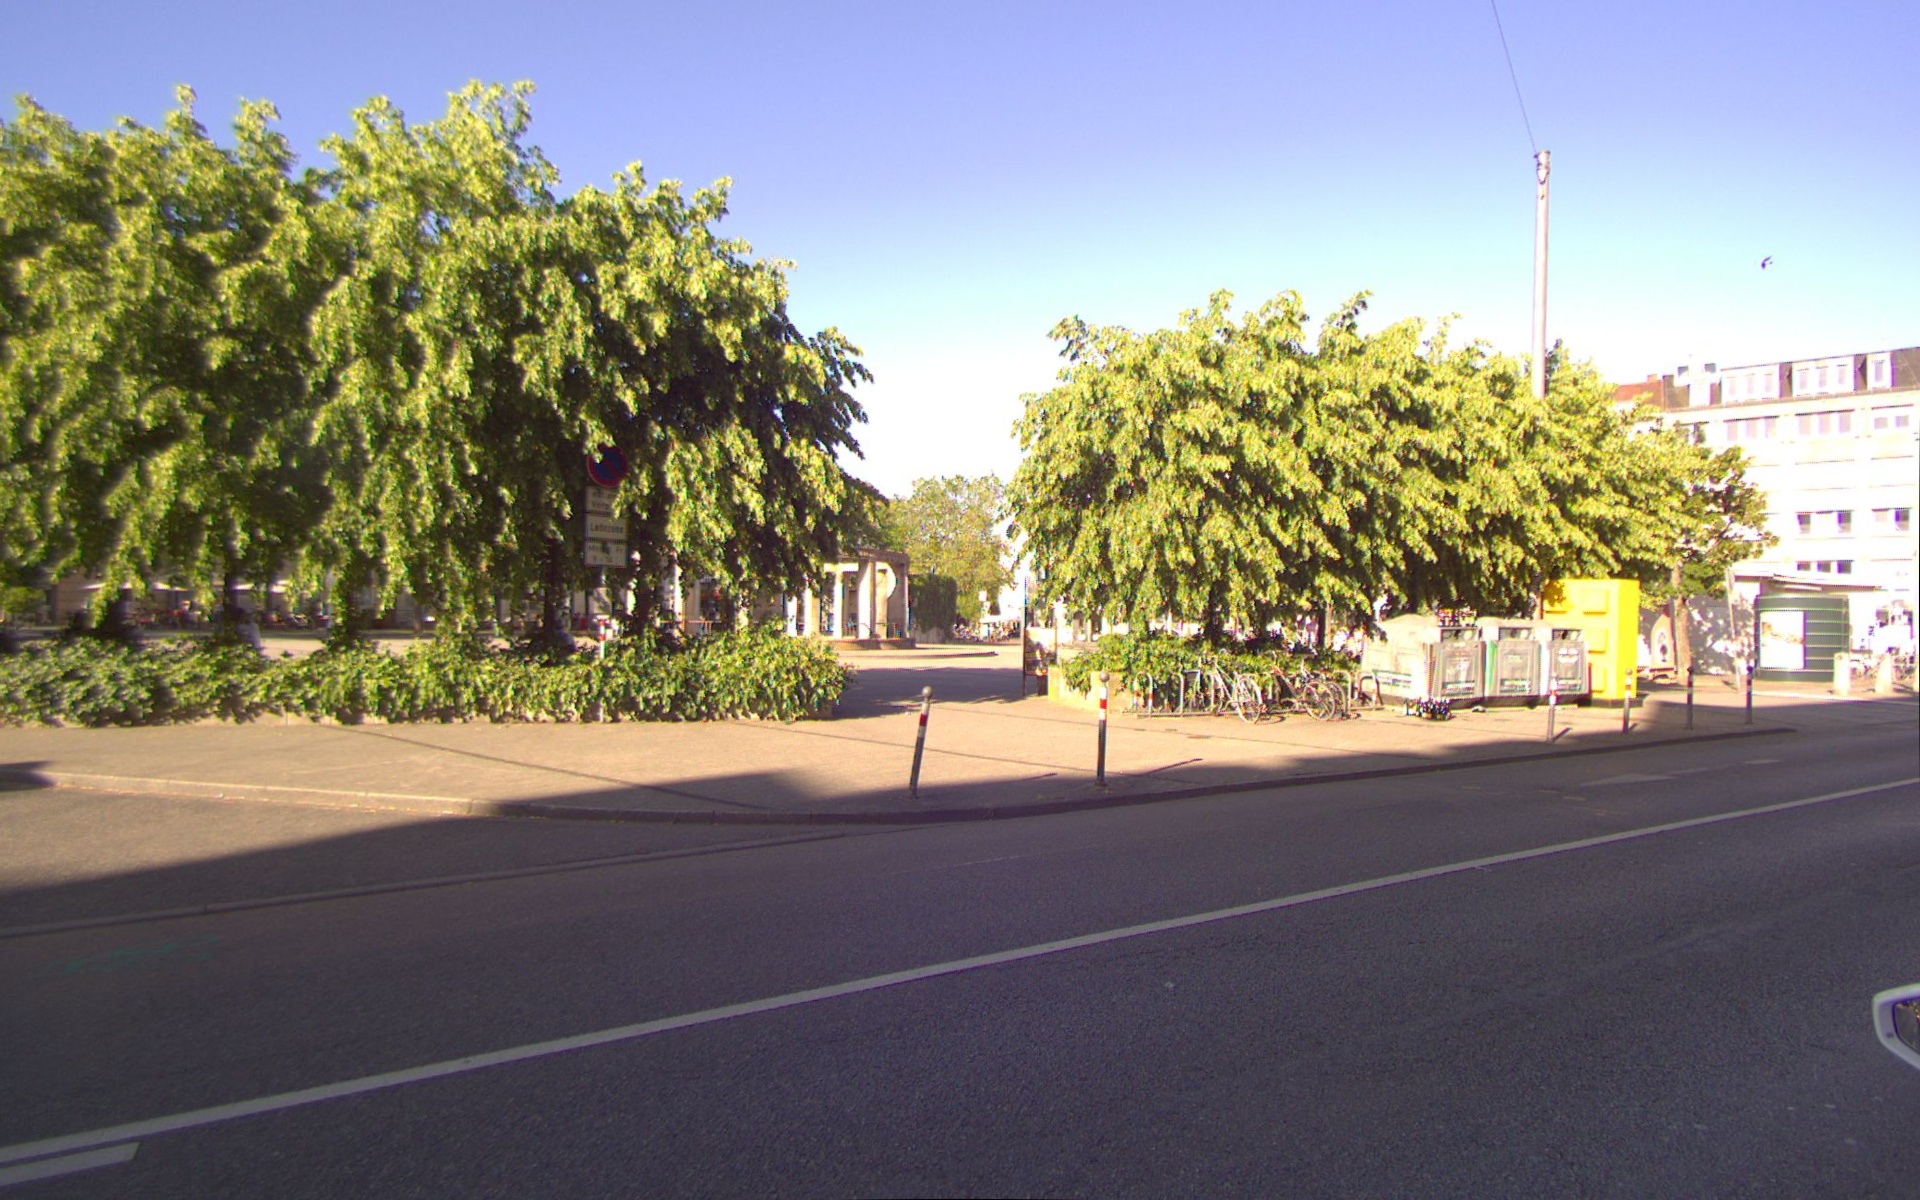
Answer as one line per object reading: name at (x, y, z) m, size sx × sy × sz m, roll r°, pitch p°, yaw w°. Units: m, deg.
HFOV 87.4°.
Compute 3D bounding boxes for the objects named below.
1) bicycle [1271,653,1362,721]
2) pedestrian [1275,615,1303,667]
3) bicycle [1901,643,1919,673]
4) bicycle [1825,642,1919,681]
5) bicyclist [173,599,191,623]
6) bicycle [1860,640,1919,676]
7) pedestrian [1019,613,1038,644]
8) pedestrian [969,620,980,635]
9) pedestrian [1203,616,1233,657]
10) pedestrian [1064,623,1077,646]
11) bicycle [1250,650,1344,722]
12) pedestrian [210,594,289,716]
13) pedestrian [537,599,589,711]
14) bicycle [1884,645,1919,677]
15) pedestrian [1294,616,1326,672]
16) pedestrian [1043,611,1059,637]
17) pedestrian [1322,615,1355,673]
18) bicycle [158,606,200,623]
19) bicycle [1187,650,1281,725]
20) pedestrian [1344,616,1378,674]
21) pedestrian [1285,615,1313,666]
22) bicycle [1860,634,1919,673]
bicycle at (5.807, 1.397, 16.434) m, size 0.425 × 0.971 × 1.518 m, roll 0°, pitch 0°, yaw -28°
pedestrian at (13.240, 1.648, 40.440) m, size 0.886 × 2.040 × 0.993 m, roll 1°, pitch 0°, yaw 7°
bicycle at (38.677, 2.315, 39.503) m, size 0.834 × 1.171 × 2.308 m, roll 1°, pitch -1°, yaw -34°
bicycle at (30.903, 2.056, 33.863) m, size 0.833 × 1.171 × 2.493 m, roll 1°, pitch -1°, yaw -31°
bicyclist at (-46.624, 0.643, 60.213) m, size 0.663 × 1.447 × 0.695 m, roll 1°, pitch 0°, yaw 39°
bicycle at (33.119, 2.037, 35.028) m, size 0.833 × 1.171 × 2.449 m, roll 1°, pitch -1°, yaw -31°
pedestrian at (4.632, 1.905, 67.661) m, size 0.893 × 2.040 × 0.986 m, roll 1°, pitch 0°, yaw -27°
pedestrian at (1.977, 3.636, 133.851) m, size 1.230 × 1.936 × 1.236 m, roll 1°, pitch 0°, yaw -11°
pedestrian at (12.985, 1.842, 50.560) m, size 0.890 × 2.040 × 1.280 m, roll 1°, pitch -1°, yaw -18°
pedestrian at (9.803, 3.030, 89.066) m, size 0.886 × 2.040 × 1.403 m, roll 1°, pitch -1°, yaw 13°
bicycle at (5.383, 1.357, 16.126) m, size 0.425 × 1.036 × 1.561 m, roll 1°, pitch -1°, yaw -28°
pedestrian at (-10.755, 0.816, 15.234) m, size 0.725 × 1.781 × 0.895 m, roll 1°, pitch -1°, yaw -19°
pedestrian at (-6.543, 0.893, 16.582) m, size 0.725 × 1.781 × 0.895 m, roll 1°, pitch -1°, yaw -19°
bicycle at (36.752, 2.327, 38.024) m, size 0.834 × 1.171 × 2.517 m, roll 1°, pitch -1°, yaw -34°
pedestrian at (12.948, 1.623, 37.162) m, size 0.886 × 2.040 × 0.993 m, roll 1°, pitch 0°, yaw 7°
pedestrian at (7.315, 1.910, 80.917) m, size 0.889 × 2.040 × 1.399 m, roll 1°, pitch 0°, yaw -14°
pedestrian at (13.555, 1.574, 36.022) m, size 0.886 × 2.040 × 0.993 m, roll 1°, pitch 0°, yaw 7°
bicycle at (-46.737, 0.880, 60.099) m, size 0.580 × 0.966 × 1.899 m, roll 1°, pitch -1°, yaw 37°
bicycle at (4.214, 1.324, 15.542) m, size 0.425 × 1.031 × 1.590 m, roll 1°, pitch 0°, yaw -28°
pedestrian at (14.383, 1.594, 36.082) m, size 0.886 × 2.040 × 0.993 m, roll 1°, pitch 0°, yaw 7°
pedestrian at (13.935, 1.641, 41.293) m, size 0.886 × 2.040 × 0.993 m, roll 1°, pitch 0°, yaw 7°
bicycle at (34.479, 1.943, 36.517) m, size 0.913 × 1.341 × 2.461 m, roll 1°, pitch -1°, yaw -35°
